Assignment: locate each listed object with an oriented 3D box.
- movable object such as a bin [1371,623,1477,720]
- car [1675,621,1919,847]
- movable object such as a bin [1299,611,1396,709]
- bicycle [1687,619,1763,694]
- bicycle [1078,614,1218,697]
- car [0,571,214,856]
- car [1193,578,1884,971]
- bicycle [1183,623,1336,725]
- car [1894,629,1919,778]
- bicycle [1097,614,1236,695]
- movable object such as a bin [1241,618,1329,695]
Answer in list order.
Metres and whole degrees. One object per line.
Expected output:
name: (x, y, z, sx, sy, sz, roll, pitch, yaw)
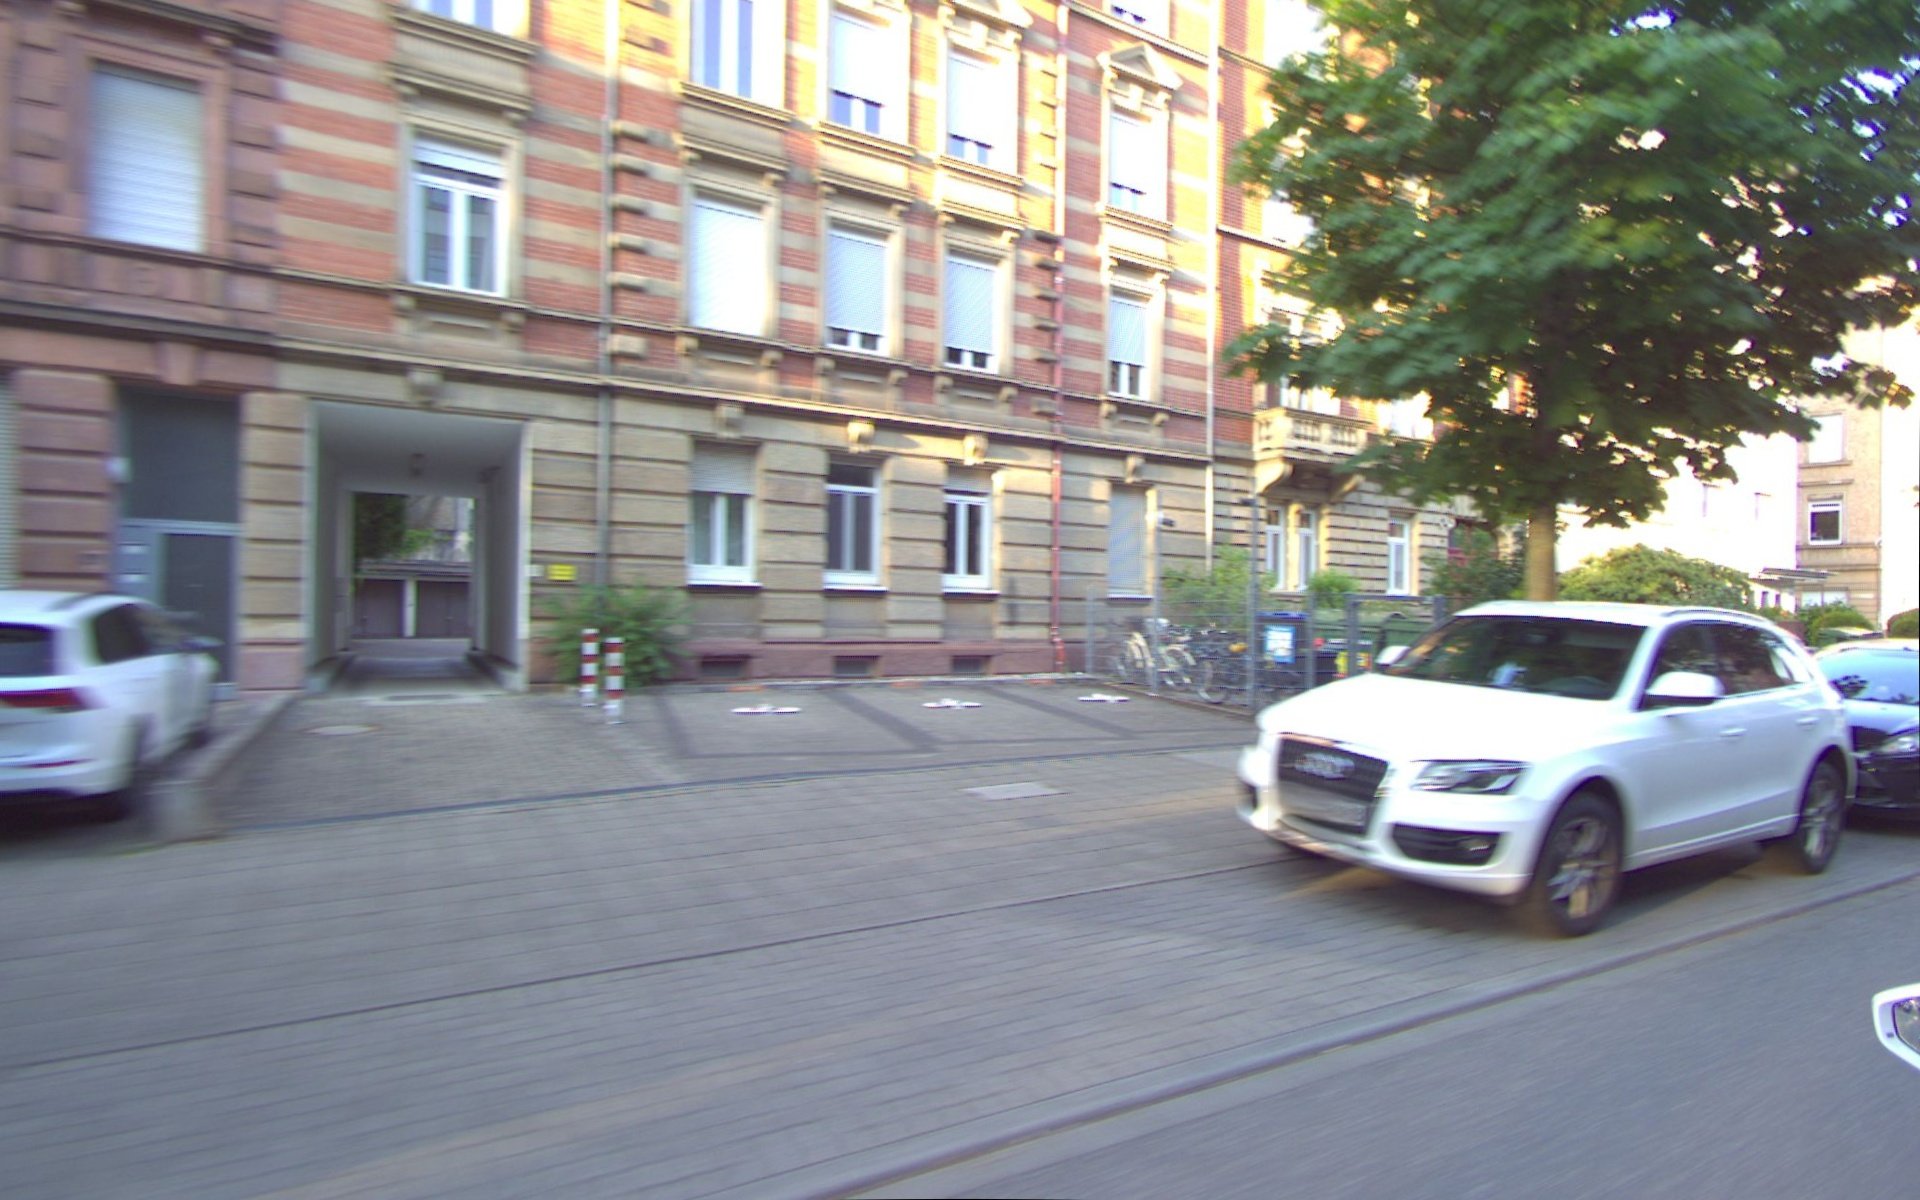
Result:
movable object such as a bin: (6.842, 1.025, 14.844, 0.991, 1.339, 1.010, 1, 1, -25)
car: (8.097, 1.032, 8.708, 3.737, 1.587, 1.708, 2, -1, -30)
movable object such as a bin: (6.106, 0.914, 15.837, 0.998, 1.433, 1.086, 0, 2, -43)
bicycle: (12.840, 0.935, 16.846, 1.599, 1.201, 0.432, 1, -1, -30)
bicycle: (3.153, 0.897, 17.166, 0.638, 1.208, 2.507, 0, 2, -40)
car: (-6.835, 0.621, 7.397, 1.689, 1.548, 4.072, 1, 2, -30)
car: (3.779, 0.822, 6.397, 4.375, 1.740, 1.912, 1, -1, -30)
bicycle: (4.252, 1.006, 14.531, 0.634, 1.208, 2.522, 1, 2, -23)
car: (12.224, 1.141, 11.166, 3.743, 1.587, 1.708, 1, -1, -30)
bicycle: (3.545, 0.900, 17.508, 0.638, 1.208, 2.507, 0, 2, -40)
movable object such as a bin: (5.610, 0.946, 17.354, 0.998, 1.225, 1.086, 0, 2, -43)
